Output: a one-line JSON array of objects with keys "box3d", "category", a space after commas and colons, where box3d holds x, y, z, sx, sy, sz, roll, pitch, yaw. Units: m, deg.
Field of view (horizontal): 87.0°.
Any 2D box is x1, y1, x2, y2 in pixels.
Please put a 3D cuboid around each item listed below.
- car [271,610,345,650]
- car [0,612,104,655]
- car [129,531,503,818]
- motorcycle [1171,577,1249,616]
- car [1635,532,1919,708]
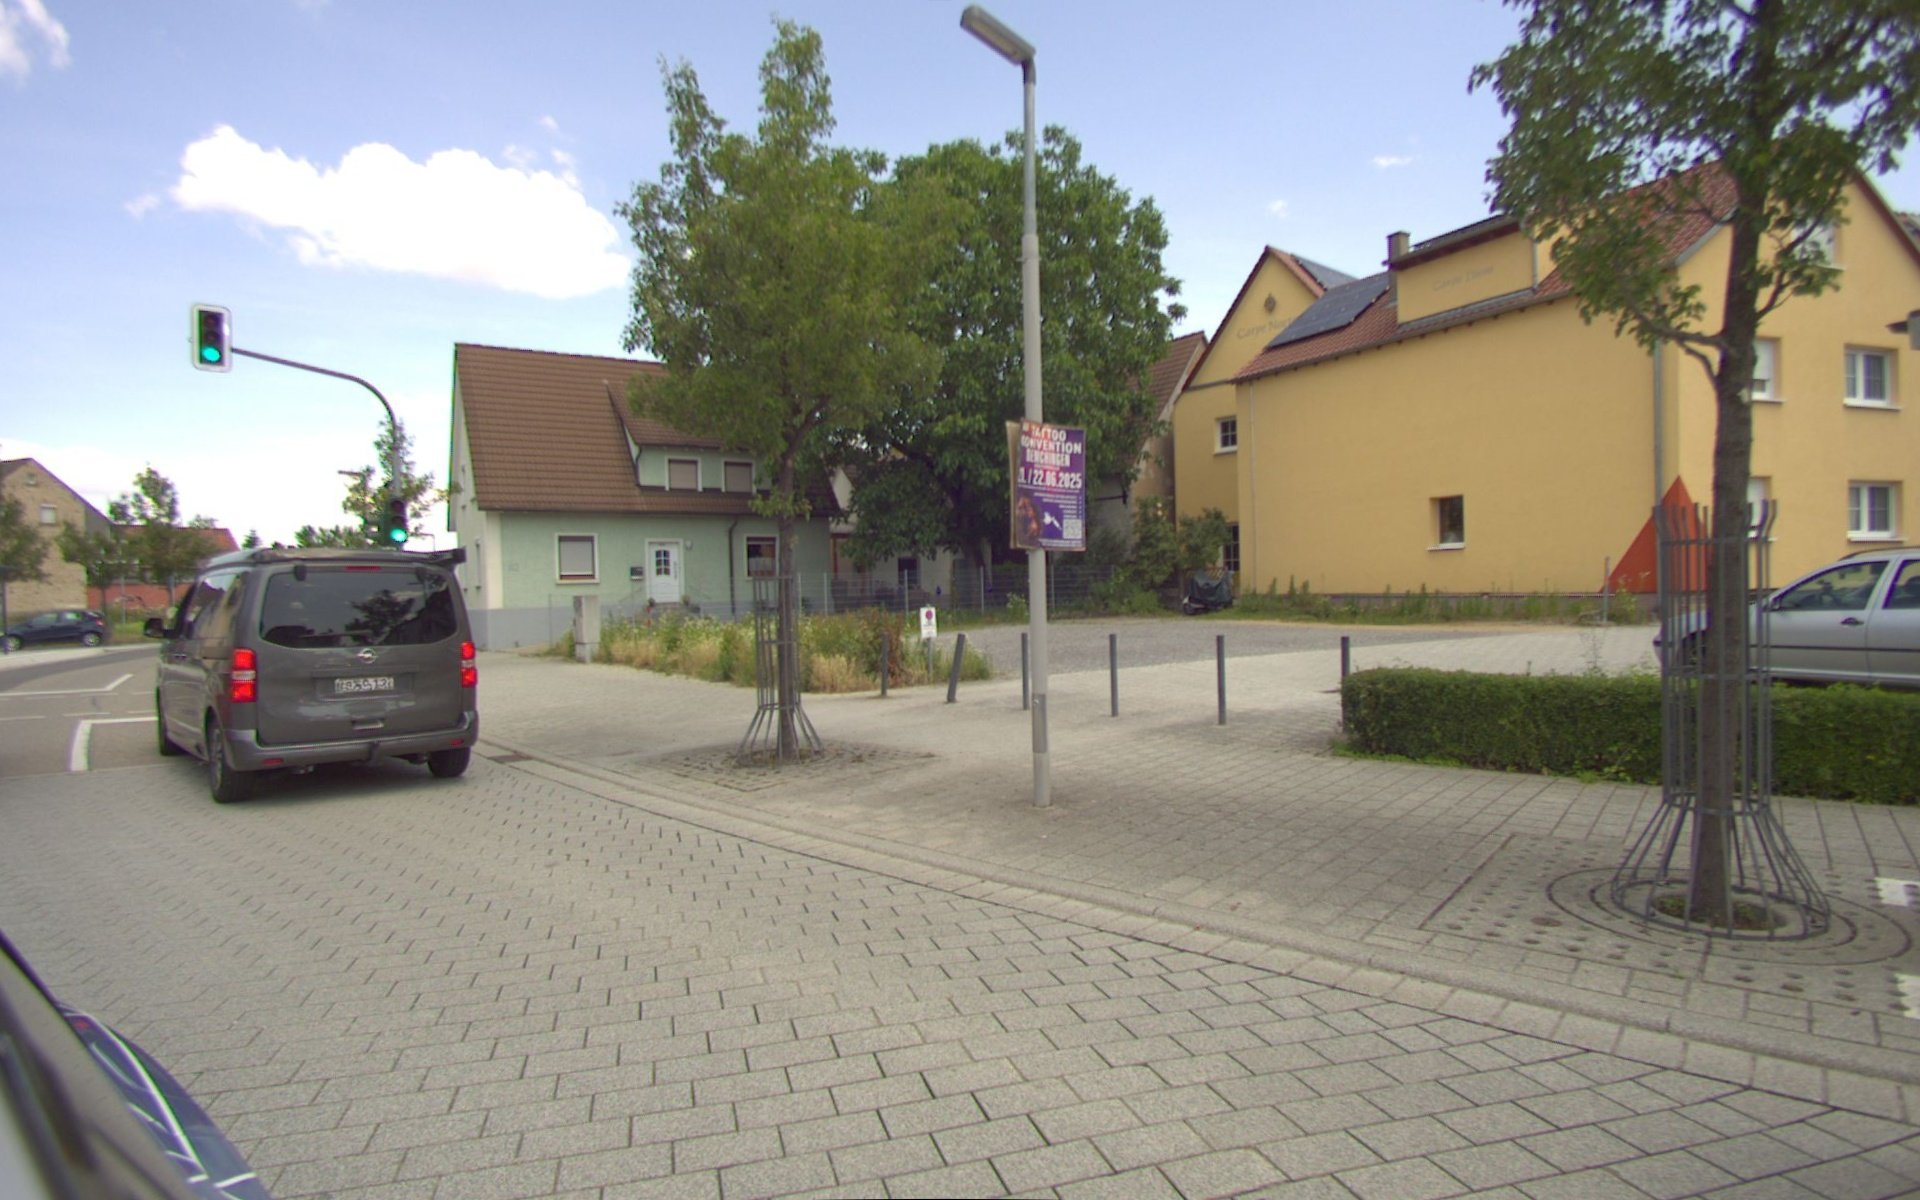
[{"box3d": [-25.525, 1.160, 39.769, 1.857, 1.446, 4.611, 0, -1, -25], "category": "car"}, {"box3d": [-38.531, 1.394, 42.797, 3.493, 1.605, 1.670, -2, 0, -39], "category": "car"}, {"box3d": [-6.248, 0.565, 9.533, 4.742, 2.029, 1.971, -2, -1, 45], "category": "car"}, {"box3d": [6.953, -0.077, 28.214, 0.771, 1.028, 2.070, -2, 0, -38], "category": "motorcycle"}, {"box3d": [9.144, 0.119, 9.398, 1.966, 1.507, 4.450, -4, 1, -18], "category": "car"}]
